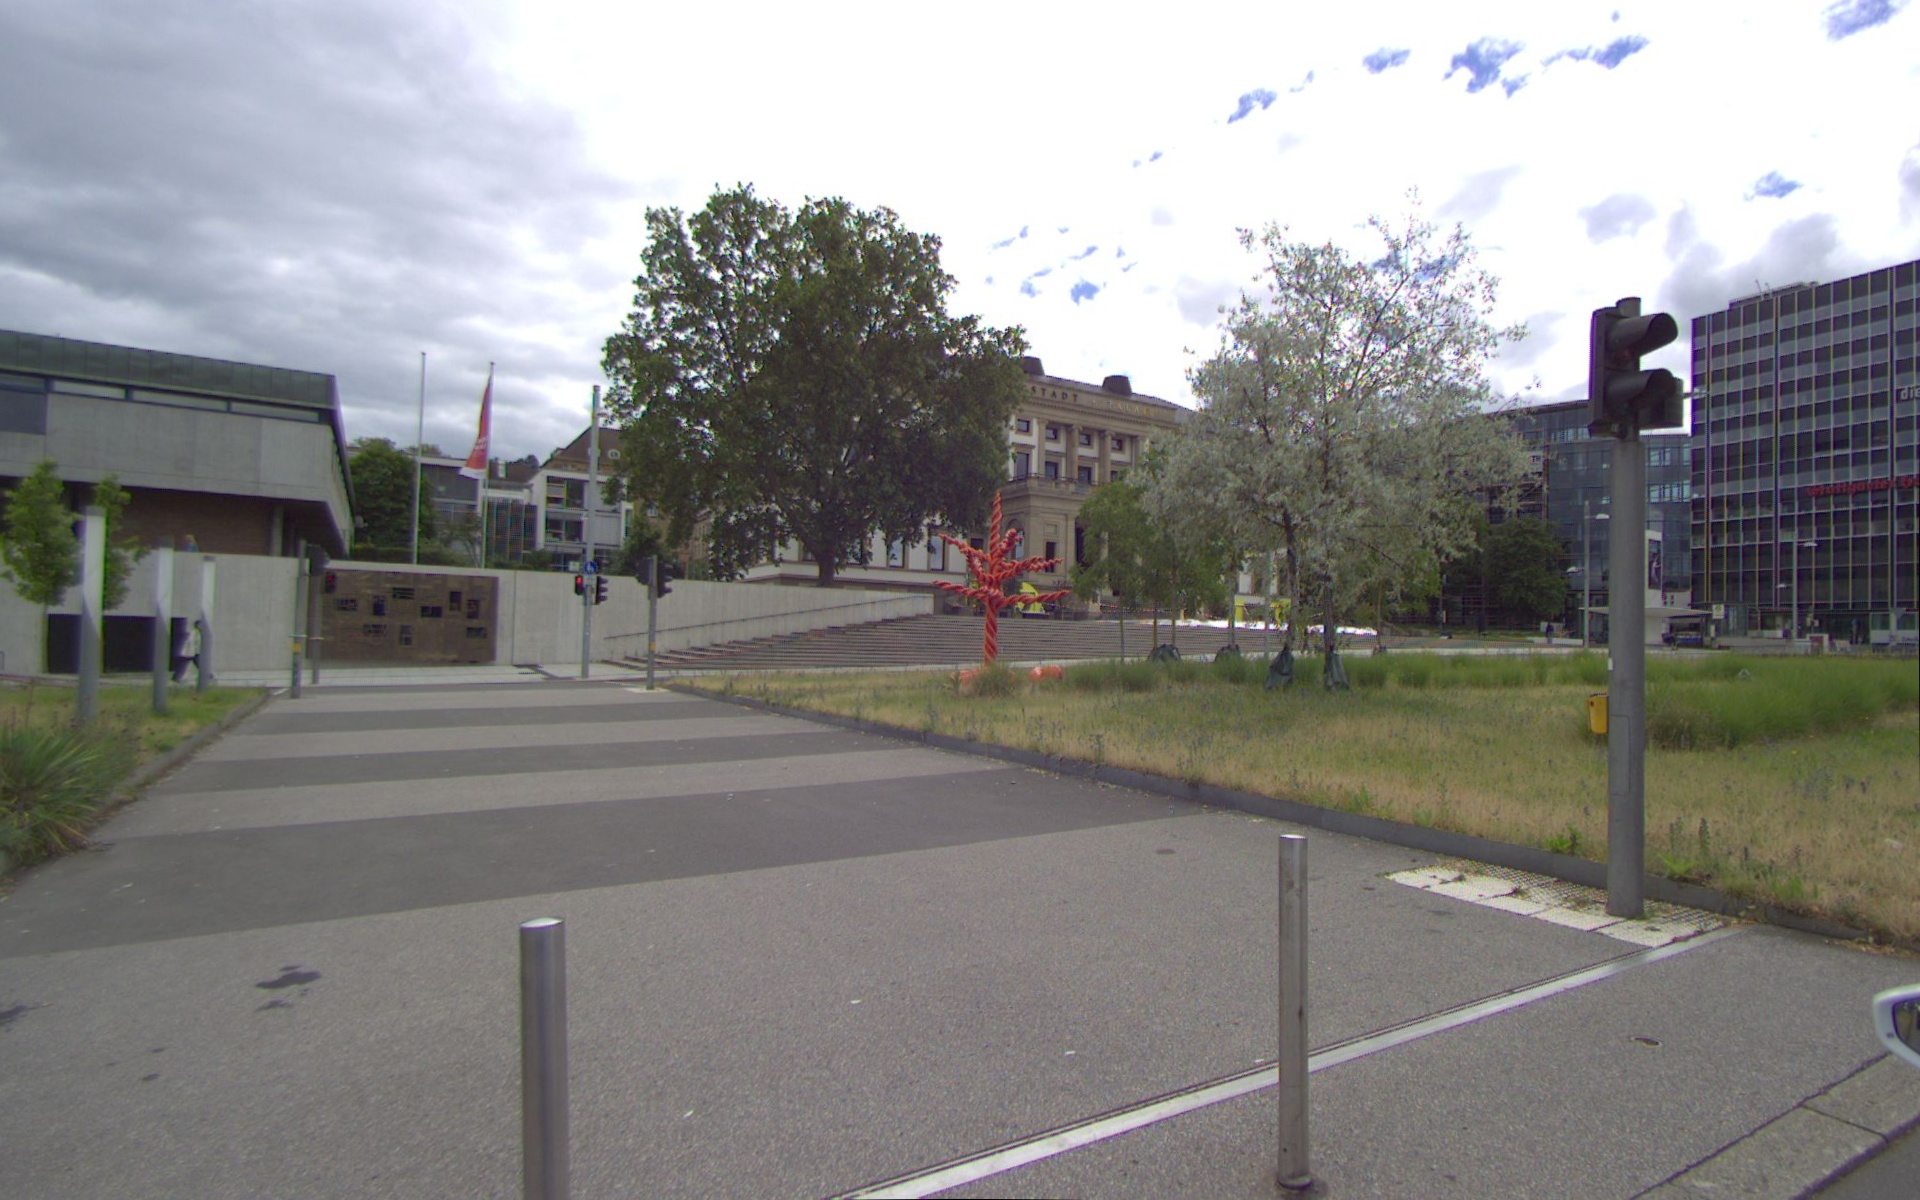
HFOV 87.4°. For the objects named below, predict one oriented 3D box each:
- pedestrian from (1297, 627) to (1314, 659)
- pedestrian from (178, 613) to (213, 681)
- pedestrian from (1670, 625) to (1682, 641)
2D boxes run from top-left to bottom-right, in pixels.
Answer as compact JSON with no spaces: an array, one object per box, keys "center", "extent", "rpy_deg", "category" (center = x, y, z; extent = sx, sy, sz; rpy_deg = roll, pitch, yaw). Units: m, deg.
[{"center":[17.985,2.247,52.356],"extent":[0.643,1.671,0.521],"rpy_deg":[1,0,-32],"category":"pedestrian"},{"center":[-19.933,1.218,26.199],"extent":[0.656,1.757,0.537],"rpy_deg":[1,0,-30],"category":"pedestrian"},{"center":[51.701,2.385,72.534],"extent":[0.553,1.095,0.472],"rpy_deg":[1,0,-29],"category":"pedestrian"}]
